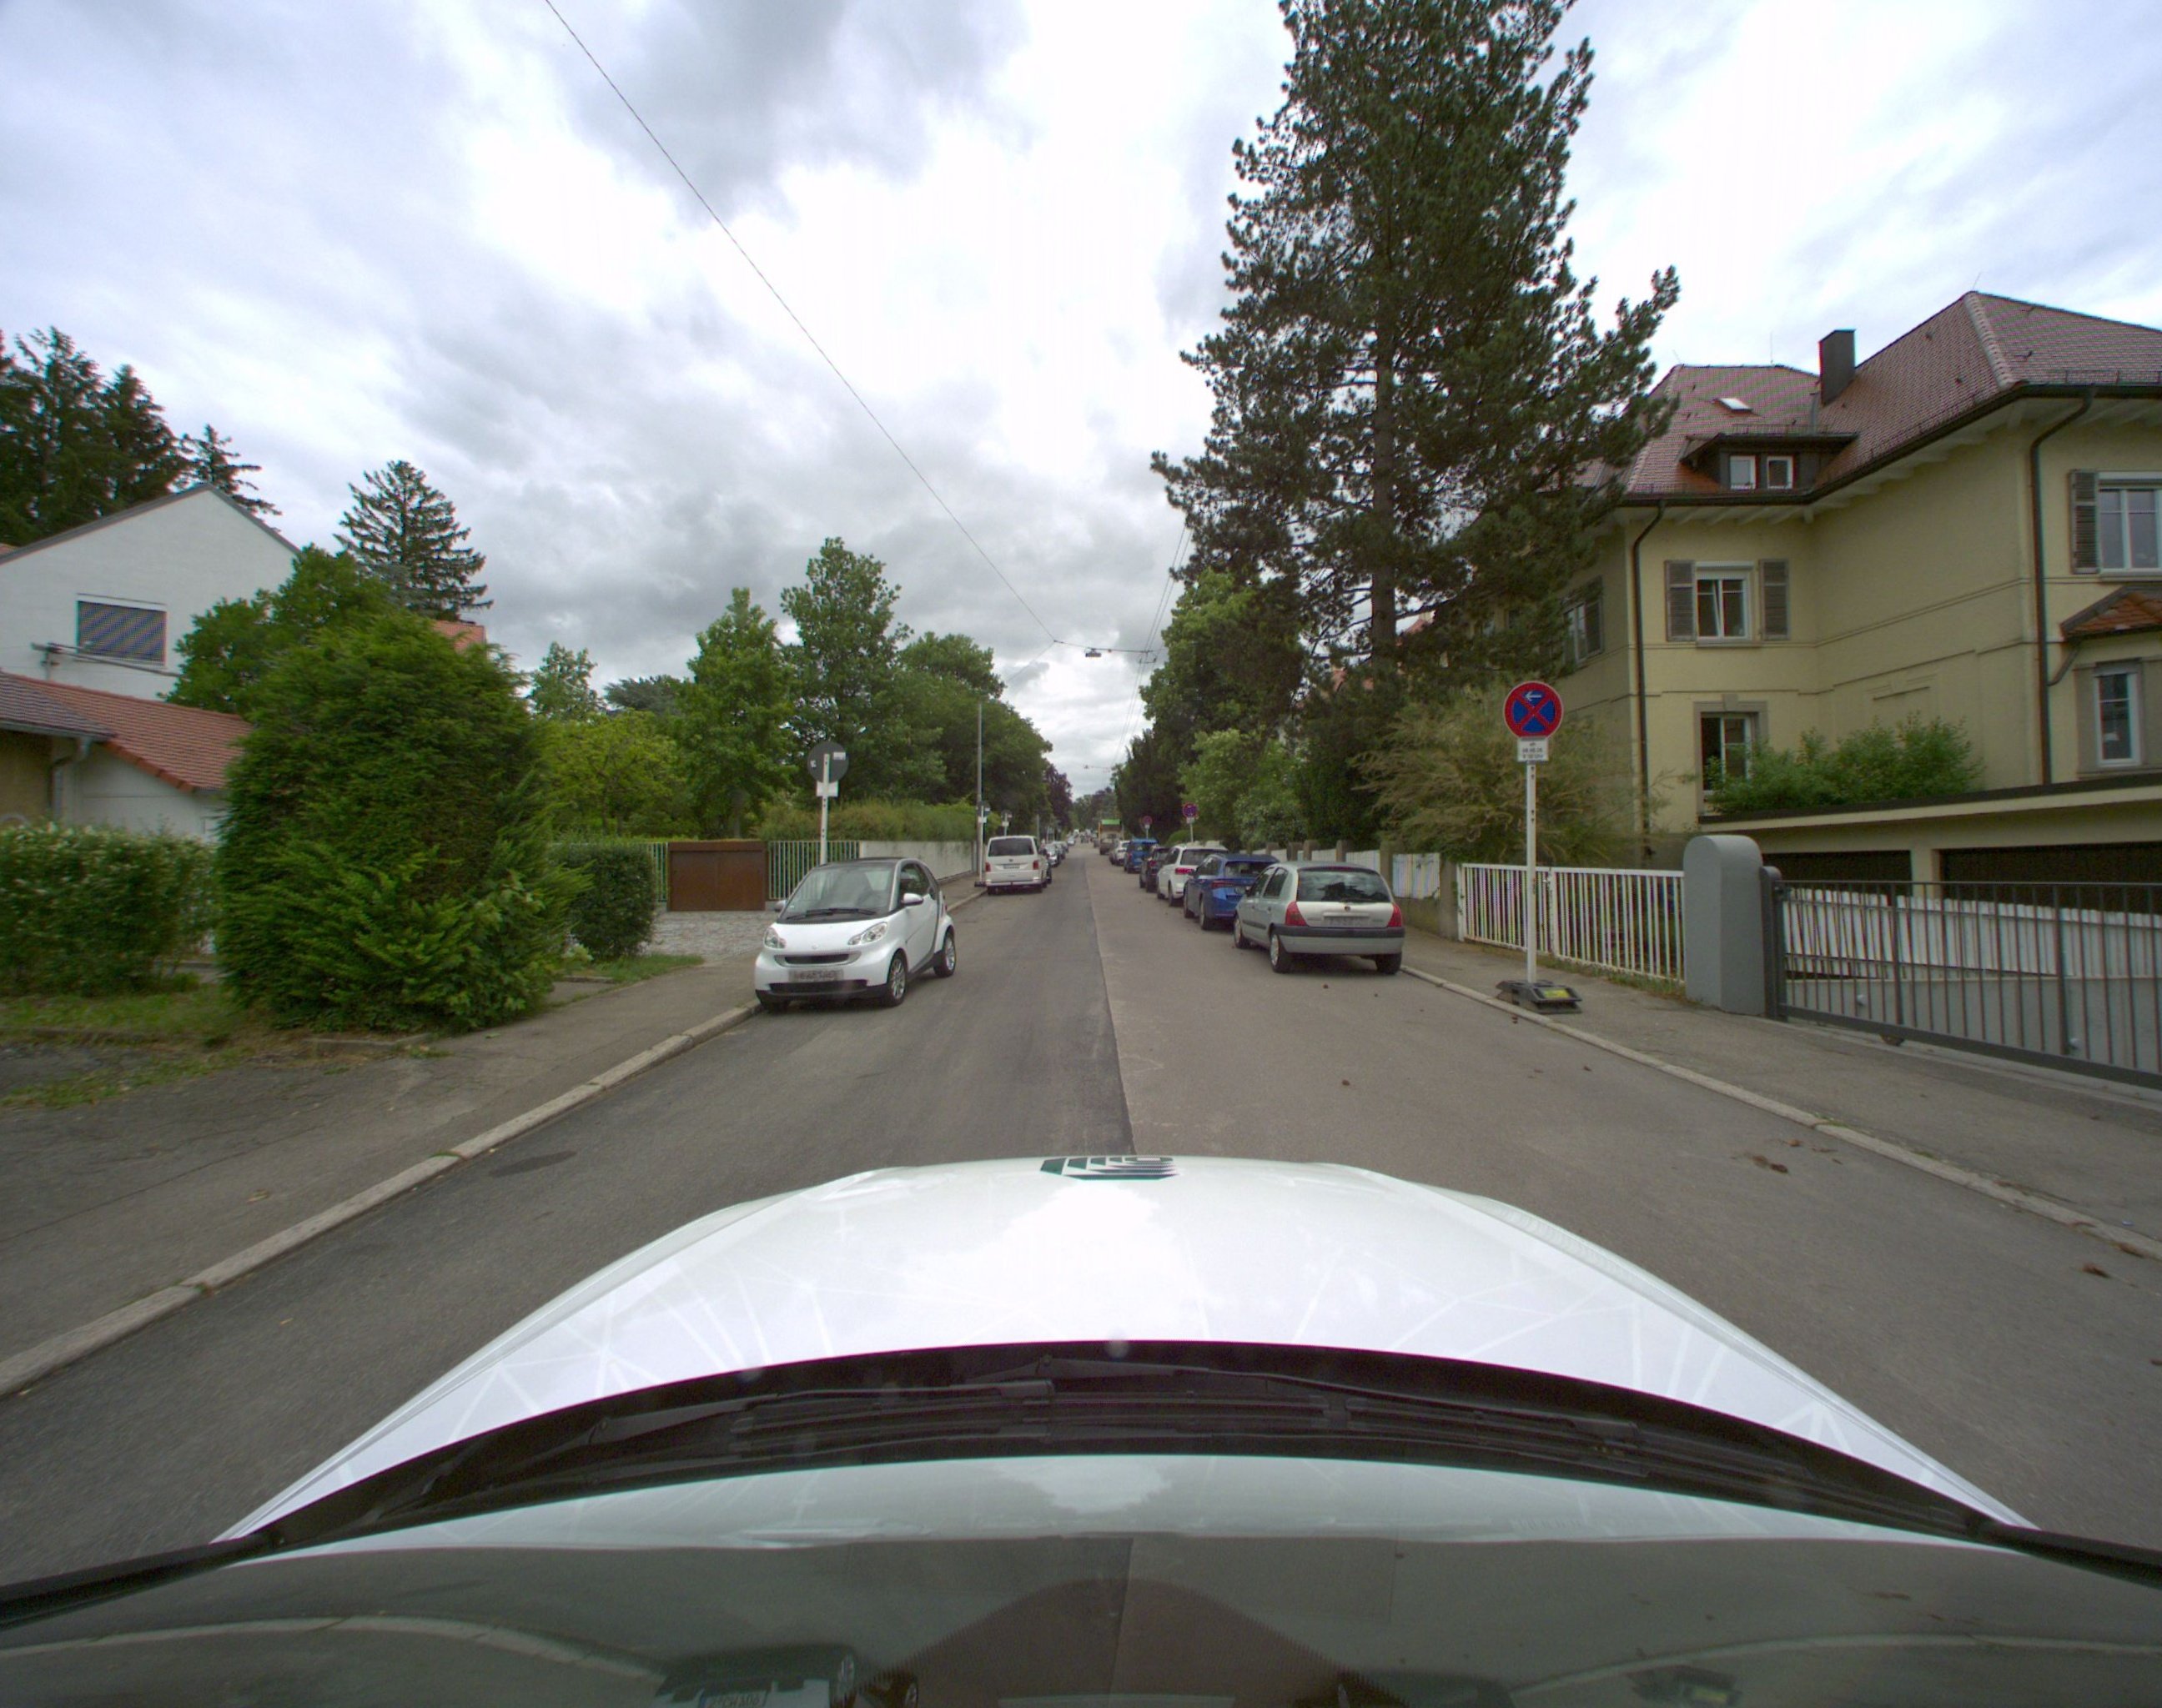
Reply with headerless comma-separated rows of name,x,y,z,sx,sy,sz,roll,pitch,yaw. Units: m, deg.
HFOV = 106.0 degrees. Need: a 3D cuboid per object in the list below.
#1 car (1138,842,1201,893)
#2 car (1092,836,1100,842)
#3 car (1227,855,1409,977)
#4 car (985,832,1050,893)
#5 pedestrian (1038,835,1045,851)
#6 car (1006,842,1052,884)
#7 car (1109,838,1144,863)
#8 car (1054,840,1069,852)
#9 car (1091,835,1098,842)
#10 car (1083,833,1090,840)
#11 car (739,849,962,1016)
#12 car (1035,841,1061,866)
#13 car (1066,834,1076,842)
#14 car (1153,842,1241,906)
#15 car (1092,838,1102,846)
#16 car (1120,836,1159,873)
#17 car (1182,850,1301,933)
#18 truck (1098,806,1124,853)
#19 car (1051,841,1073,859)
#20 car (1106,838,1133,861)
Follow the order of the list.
car,3.044,0.431,28.665,1.744,1.608,4.075,1,0,0
car,3.705,-3.569,198.366,1.805,1.335,3.631,1,2,-1
car,3.194,0.752,11.682,1.568,1.400,3.655,1,1,0
car,-2.176,0.264,29.033,1.848,1.913,4.619,-3,1,0
pedestrian,-5.012,-1.413,104.181,0.850,2.013,0.699,1,1,-5
car,-2.169,0.309,34.975,1.786,1.623,4.340,-2,1,-2
car,2.989,-0.266,54.113,1.754,1.606,4.570,1,1,-4
car,-2.348,-0.980,98.254,1.632,1.395,3.987,-3,1,-1
car,3.467,-3.953,207.037,1.783,1.529,3.736,0,1,1
car,1.283,-4.070,192.242,1.629,1.701,3.493,0,2,-1
car,-2.504,0.781,9.475,1.435,1.552,2.775,-4,1,7
car,-2.170,-0.049,53.380,1.618,1.533,2.959,-3,1,-3
car,-2.118,-3.387,174.415,1.704,1.585,4.003,0,1,3
car,3.169,0.489,23.032,1.780,1.603,4.302,1,1,-1
car,3.061,-2.205,154.614,1.773,1.489,3.999,0,1,-1
car,3.042,-0.026,43.217,1.677,1.829,4.156,1,1,-1
car,3.130,0.668,16.637,1.642,1.458,4.052,1,0,0
truck,3.069,-2.511,84.839,2.516,4.748,7.188,0,1,1
car,-1.641,-0.388,71.332,1.634,1.422,4.552,-3,1,2
car,2.813,-0.342,60.129,1.693,1.570,4.306,-1,1,-2
